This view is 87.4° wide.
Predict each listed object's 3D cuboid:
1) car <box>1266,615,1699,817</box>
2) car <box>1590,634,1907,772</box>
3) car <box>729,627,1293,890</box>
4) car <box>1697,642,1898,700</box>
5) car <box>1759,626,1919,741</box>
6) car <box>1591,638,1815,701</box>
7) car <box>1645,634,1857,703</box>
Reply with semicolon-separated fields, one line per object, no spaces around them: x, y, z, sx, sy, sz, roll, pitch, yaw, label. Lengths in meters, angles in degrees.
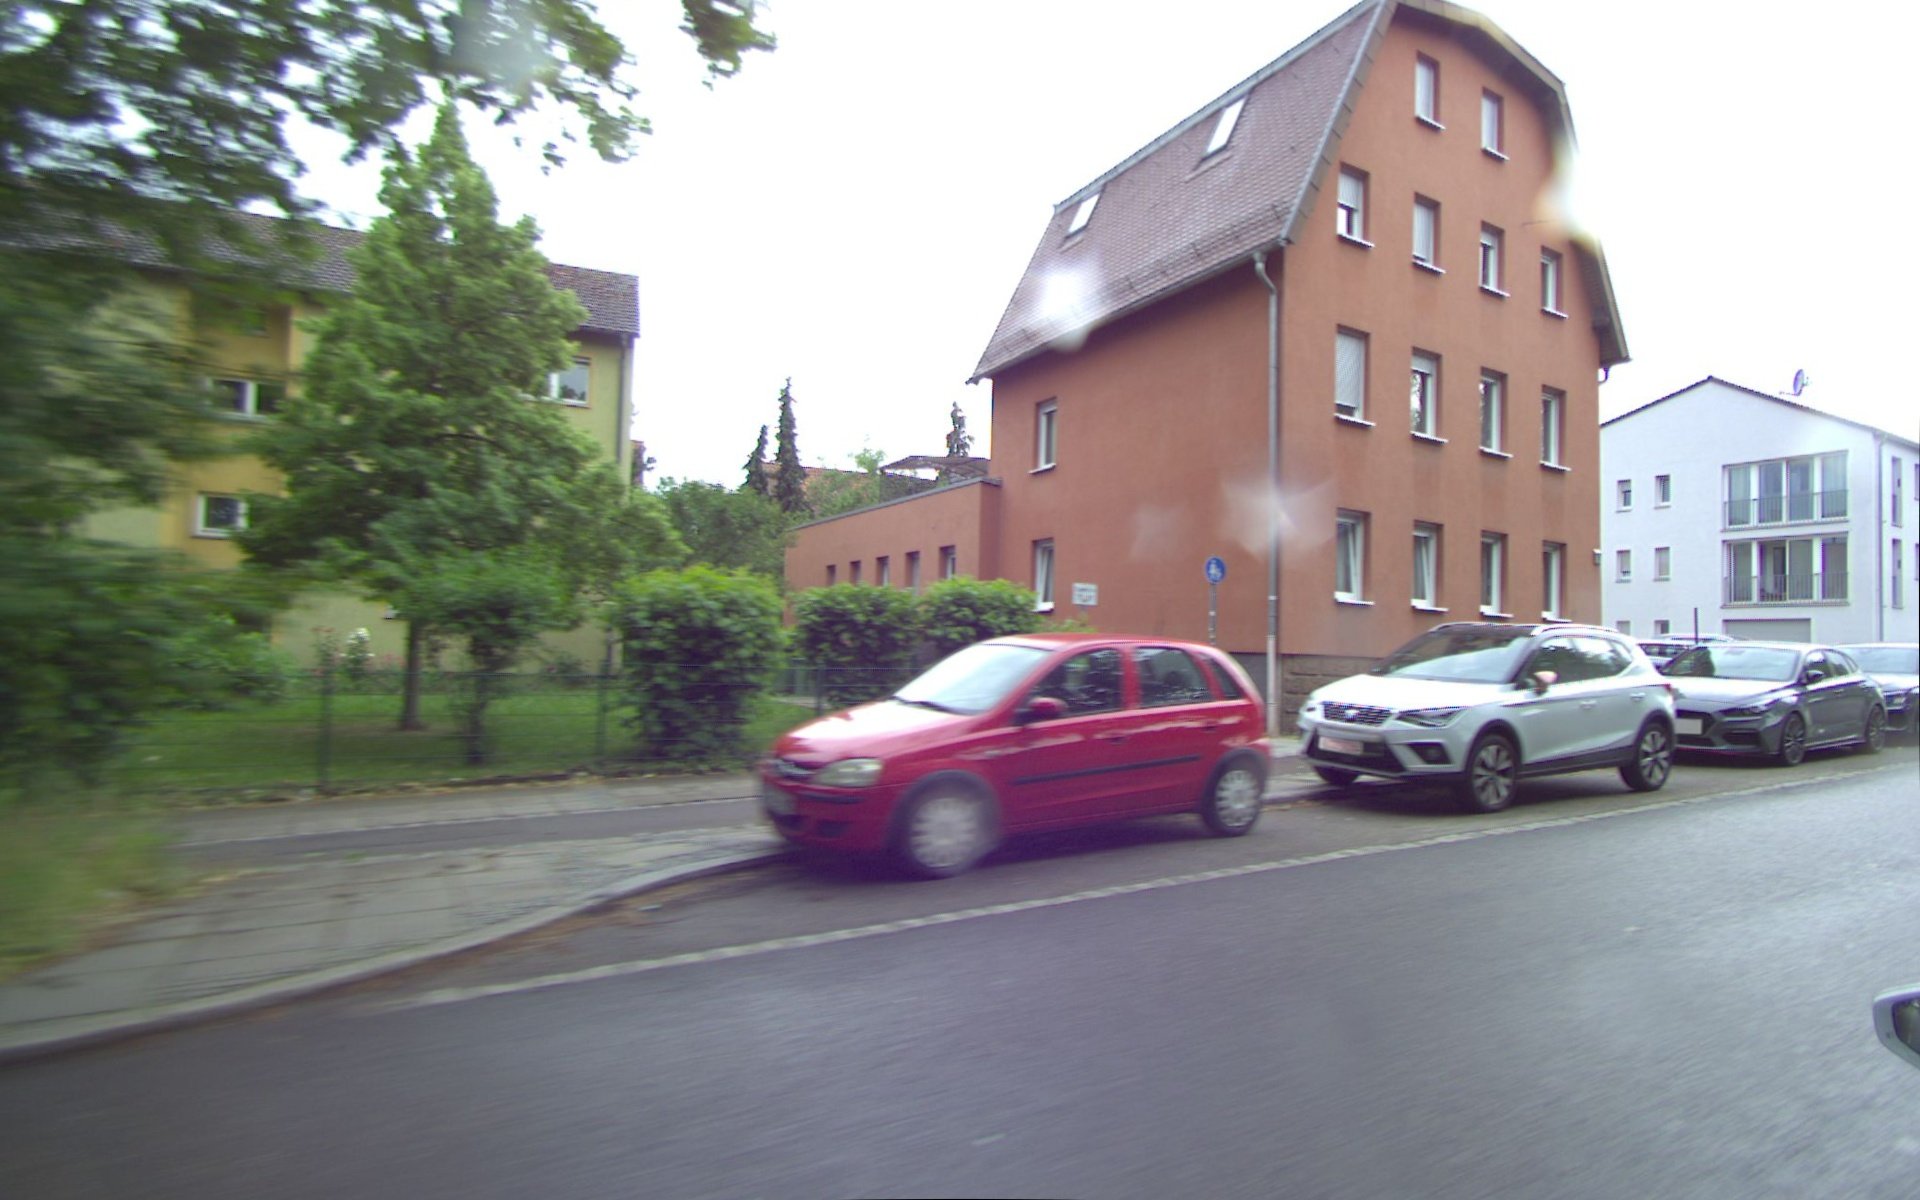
5.014;0.972;9.542;4.068;1.562;1.684;1;-4;-30;car
10.173;1.206;12.898;4.333;1.501;1.736;2;-2;-30;car
0.444;0.917;7.084;3.717;1.391;1.630;2;-1;-32;car
23.808;1.961;28.717;1.974;1.491;3.974;1;-2;-26;car
14.195;1.222;15.357;4.307;1.502;1.627;2;0;-30;car
19.283;1.742;26.284;2.043;1.482;4.271;1;-2;-29;car
21.563;1.814;27.582;1.974;1.720;4.137;1;-2;-26;car
